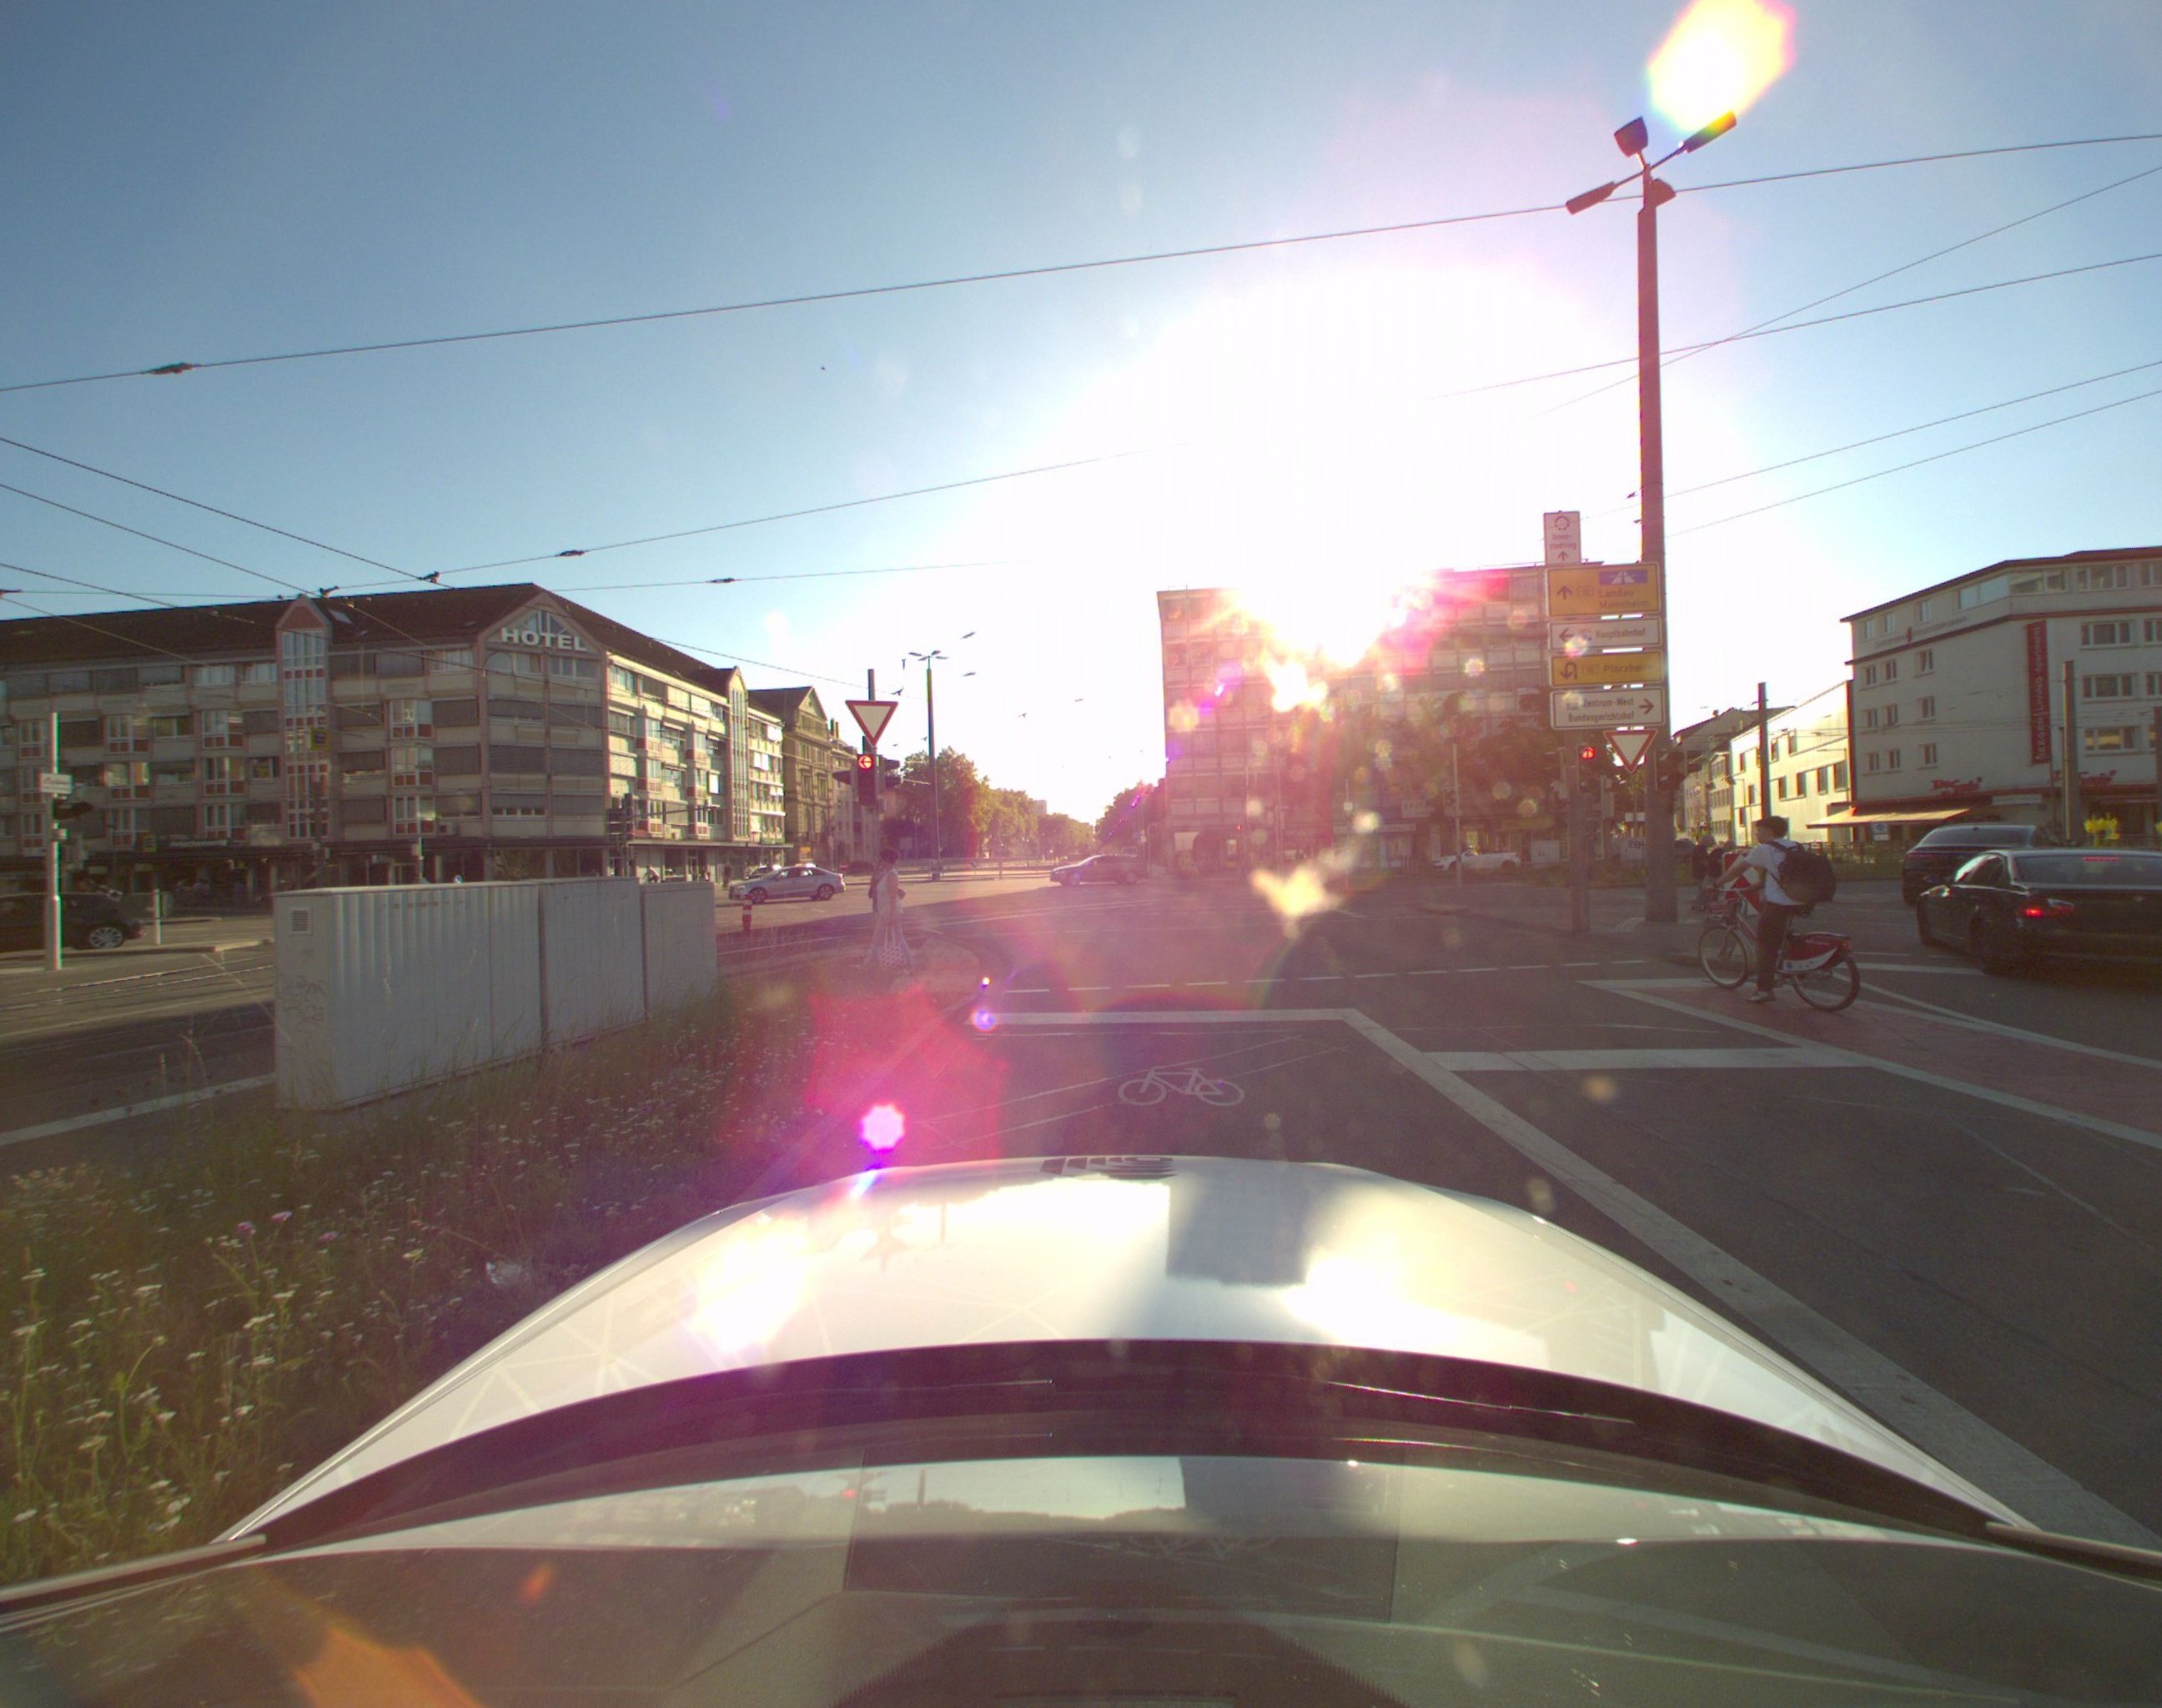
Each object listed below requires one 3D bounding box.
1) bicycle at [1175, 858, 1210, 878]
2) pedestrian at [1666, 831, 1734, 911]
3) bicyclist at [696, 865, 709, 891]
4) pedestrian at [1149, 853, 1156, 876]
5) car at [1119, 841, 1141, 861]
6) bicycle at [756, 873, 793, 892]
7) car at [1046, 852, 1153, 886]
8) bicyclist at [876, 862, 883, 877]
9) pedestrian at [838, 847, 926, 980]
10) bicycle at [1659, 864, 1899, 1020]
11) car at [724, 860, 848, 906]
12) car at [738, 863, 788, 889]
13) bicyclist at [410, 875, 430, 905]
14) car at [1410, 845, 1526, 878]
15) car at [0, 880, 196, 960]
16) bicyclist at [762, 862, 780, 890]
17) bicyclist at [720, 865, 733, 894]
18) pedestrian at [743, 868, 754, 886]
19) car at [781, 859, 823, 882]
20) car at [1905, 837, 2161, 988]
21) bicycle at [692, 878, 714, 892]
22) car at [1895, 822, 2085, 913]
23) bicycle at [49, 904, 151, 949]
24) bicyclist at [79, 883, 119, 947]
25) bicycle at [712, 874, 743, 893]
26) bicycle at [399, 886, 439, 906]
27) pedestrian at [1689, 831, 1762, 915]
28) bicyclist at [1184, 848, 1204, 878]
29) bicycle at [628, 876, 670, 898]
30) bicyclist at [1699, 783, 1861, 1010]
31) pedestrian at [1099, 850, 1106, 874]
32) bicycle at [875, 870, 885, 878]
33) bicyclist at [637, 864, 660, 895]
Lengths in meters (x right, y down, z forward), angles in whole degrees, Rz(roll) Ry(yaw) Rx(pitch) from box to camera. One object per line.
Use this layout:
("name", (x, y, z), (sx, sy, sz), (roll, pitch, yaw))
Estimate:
("bicycle", (6.643, 0.842, 48.423), (1.967, 1.098, 0.677), (-2, 0, -2))
("pedestrian", (12.909, 0.350, 17.001), (0.876, 1.597, 0.655), (-2, 0, 0))
("bicyclist", (-27.581, 1.774, 59.335), (0.590, 1.862, 0.642), (-2, 0, 3))
("pedestrian", (4.792, 0.721, 54.466), (0.365, 1.508, 0.542), (-2, 0, -5))
("car", (6.332, -0.383, 105.604), (2.477, 2.392, 5.936), (-4, 0, 2))
("bicycle", (-20.434, 1.923, 54.315), (2.168, 1.137, 0.658), (-2, 0, -3))
("car", (0.899, 0.710, 40.251), (4.929, 1.479, 1.989), (-2, 0, -16))
("bicyclist", (-25.059, 1.972, 101.486), (0.590, 1.862, 0.642), (-2, 0, 3))
("pedestrian", (-2.513, 0.732, 10.343), (0.875, 1.597, 0.655), (-2, 0, 1))
("bicycle", (6.596, 0.756, 7.880), (0.642, 1.223, 2.050), (0, 2, 3))
("car", (-11.892, 1.121, 32.908), (4.361, 1.596, 1.980), (-2, 0, -32))
("car", (-24.672, 1.689, 63.255), (1.984, 1.860, 4.005), (-2, 0, 4))
("bicyclist", (-38.386, 2.094, 47.328), (0.663, 1.712, 0.537), (-2, 0, -8))
("car", (19.480, 0.378, 41.215), (4.893, 1.479, 2.004), (-2, 0, 7))
("car", (-23.897, 1.513, 18.473), (1.974, 1.596, 4.810), (-2, 0, 30))
("bicyclist", (-20.662, 1.461, 54.300), (0.896, 1.753, 0.650), (-2, 0, -2))
("bicyclist", (-25.368, 1.799, 58.309), (0.779, 2.013, 0.600), (-2, 0, -22))
("pedestrian", (-29.275, 2.011, 71.704), (0.623, 1.605, 0.705), (-2, 0, 3))
("car", (-24.258, 1.436, 70.986), (1.984, 1.860, 4.005), (-2, 0, 4))
("car", (11.335, 0.541, 9.545), (1.726, 1.426, 4.026), (-2, 0, 37))
("bicycle", (-27.499, 2.241, 59.278), (0.596, 0.915, 1.838), (-2, 0, 4))
("car", (19.113, 0.204, 17.110), (4.013, 1.693, 1.980), (-1, 1, -31))
("bicycle", (-27.530, 2.021, 22.879), (0.528, 1.072, 1.793), (-3, 0, 39))
("bicyclist", (-27.560, 1.698, 22.863), (0.531, 1.712, 0.670), (-3, 0, 39))
("bicycle", (-25.333, 2.106, 58.327), (1.968, 1.201, 0.605), (-2, 0, -21))
("bicycle", (-38.459, 2.431, 47.313), (1.731, 1.059, 0.538), (-2, 0, -8))
("pedestrian", (12.765, 0.360, 16.156), (0.876, 1.597, 0.655), (-2, 0, 0))
("bicyclist", (6.717, 0.519, 48.429), (1.037, 1.739, 0.677), (-2, 0, -2))
("bicycle", (-25.312, 1.920, 47.730), (2.089, 1.137, 0.658), (-2, 0, -3))
("bicyclist", (6.597, 0.367, 7.754), (0.641, 2.013, 1.068), (0, 1, 3))
("pedestrian", (1.396, 0.520, 52.633), (0.365, 1.508, 0.542), (-2, 0, -5))
("bicycle", (-25.047, 2.444, 101.398), (0.596, 0.915, 1.838), (-2, 0, 4))
("bicyclist", (-25.344, 1.465, 47.733), (0.896, 1.753, 0.654), (-2, 0, -2))
